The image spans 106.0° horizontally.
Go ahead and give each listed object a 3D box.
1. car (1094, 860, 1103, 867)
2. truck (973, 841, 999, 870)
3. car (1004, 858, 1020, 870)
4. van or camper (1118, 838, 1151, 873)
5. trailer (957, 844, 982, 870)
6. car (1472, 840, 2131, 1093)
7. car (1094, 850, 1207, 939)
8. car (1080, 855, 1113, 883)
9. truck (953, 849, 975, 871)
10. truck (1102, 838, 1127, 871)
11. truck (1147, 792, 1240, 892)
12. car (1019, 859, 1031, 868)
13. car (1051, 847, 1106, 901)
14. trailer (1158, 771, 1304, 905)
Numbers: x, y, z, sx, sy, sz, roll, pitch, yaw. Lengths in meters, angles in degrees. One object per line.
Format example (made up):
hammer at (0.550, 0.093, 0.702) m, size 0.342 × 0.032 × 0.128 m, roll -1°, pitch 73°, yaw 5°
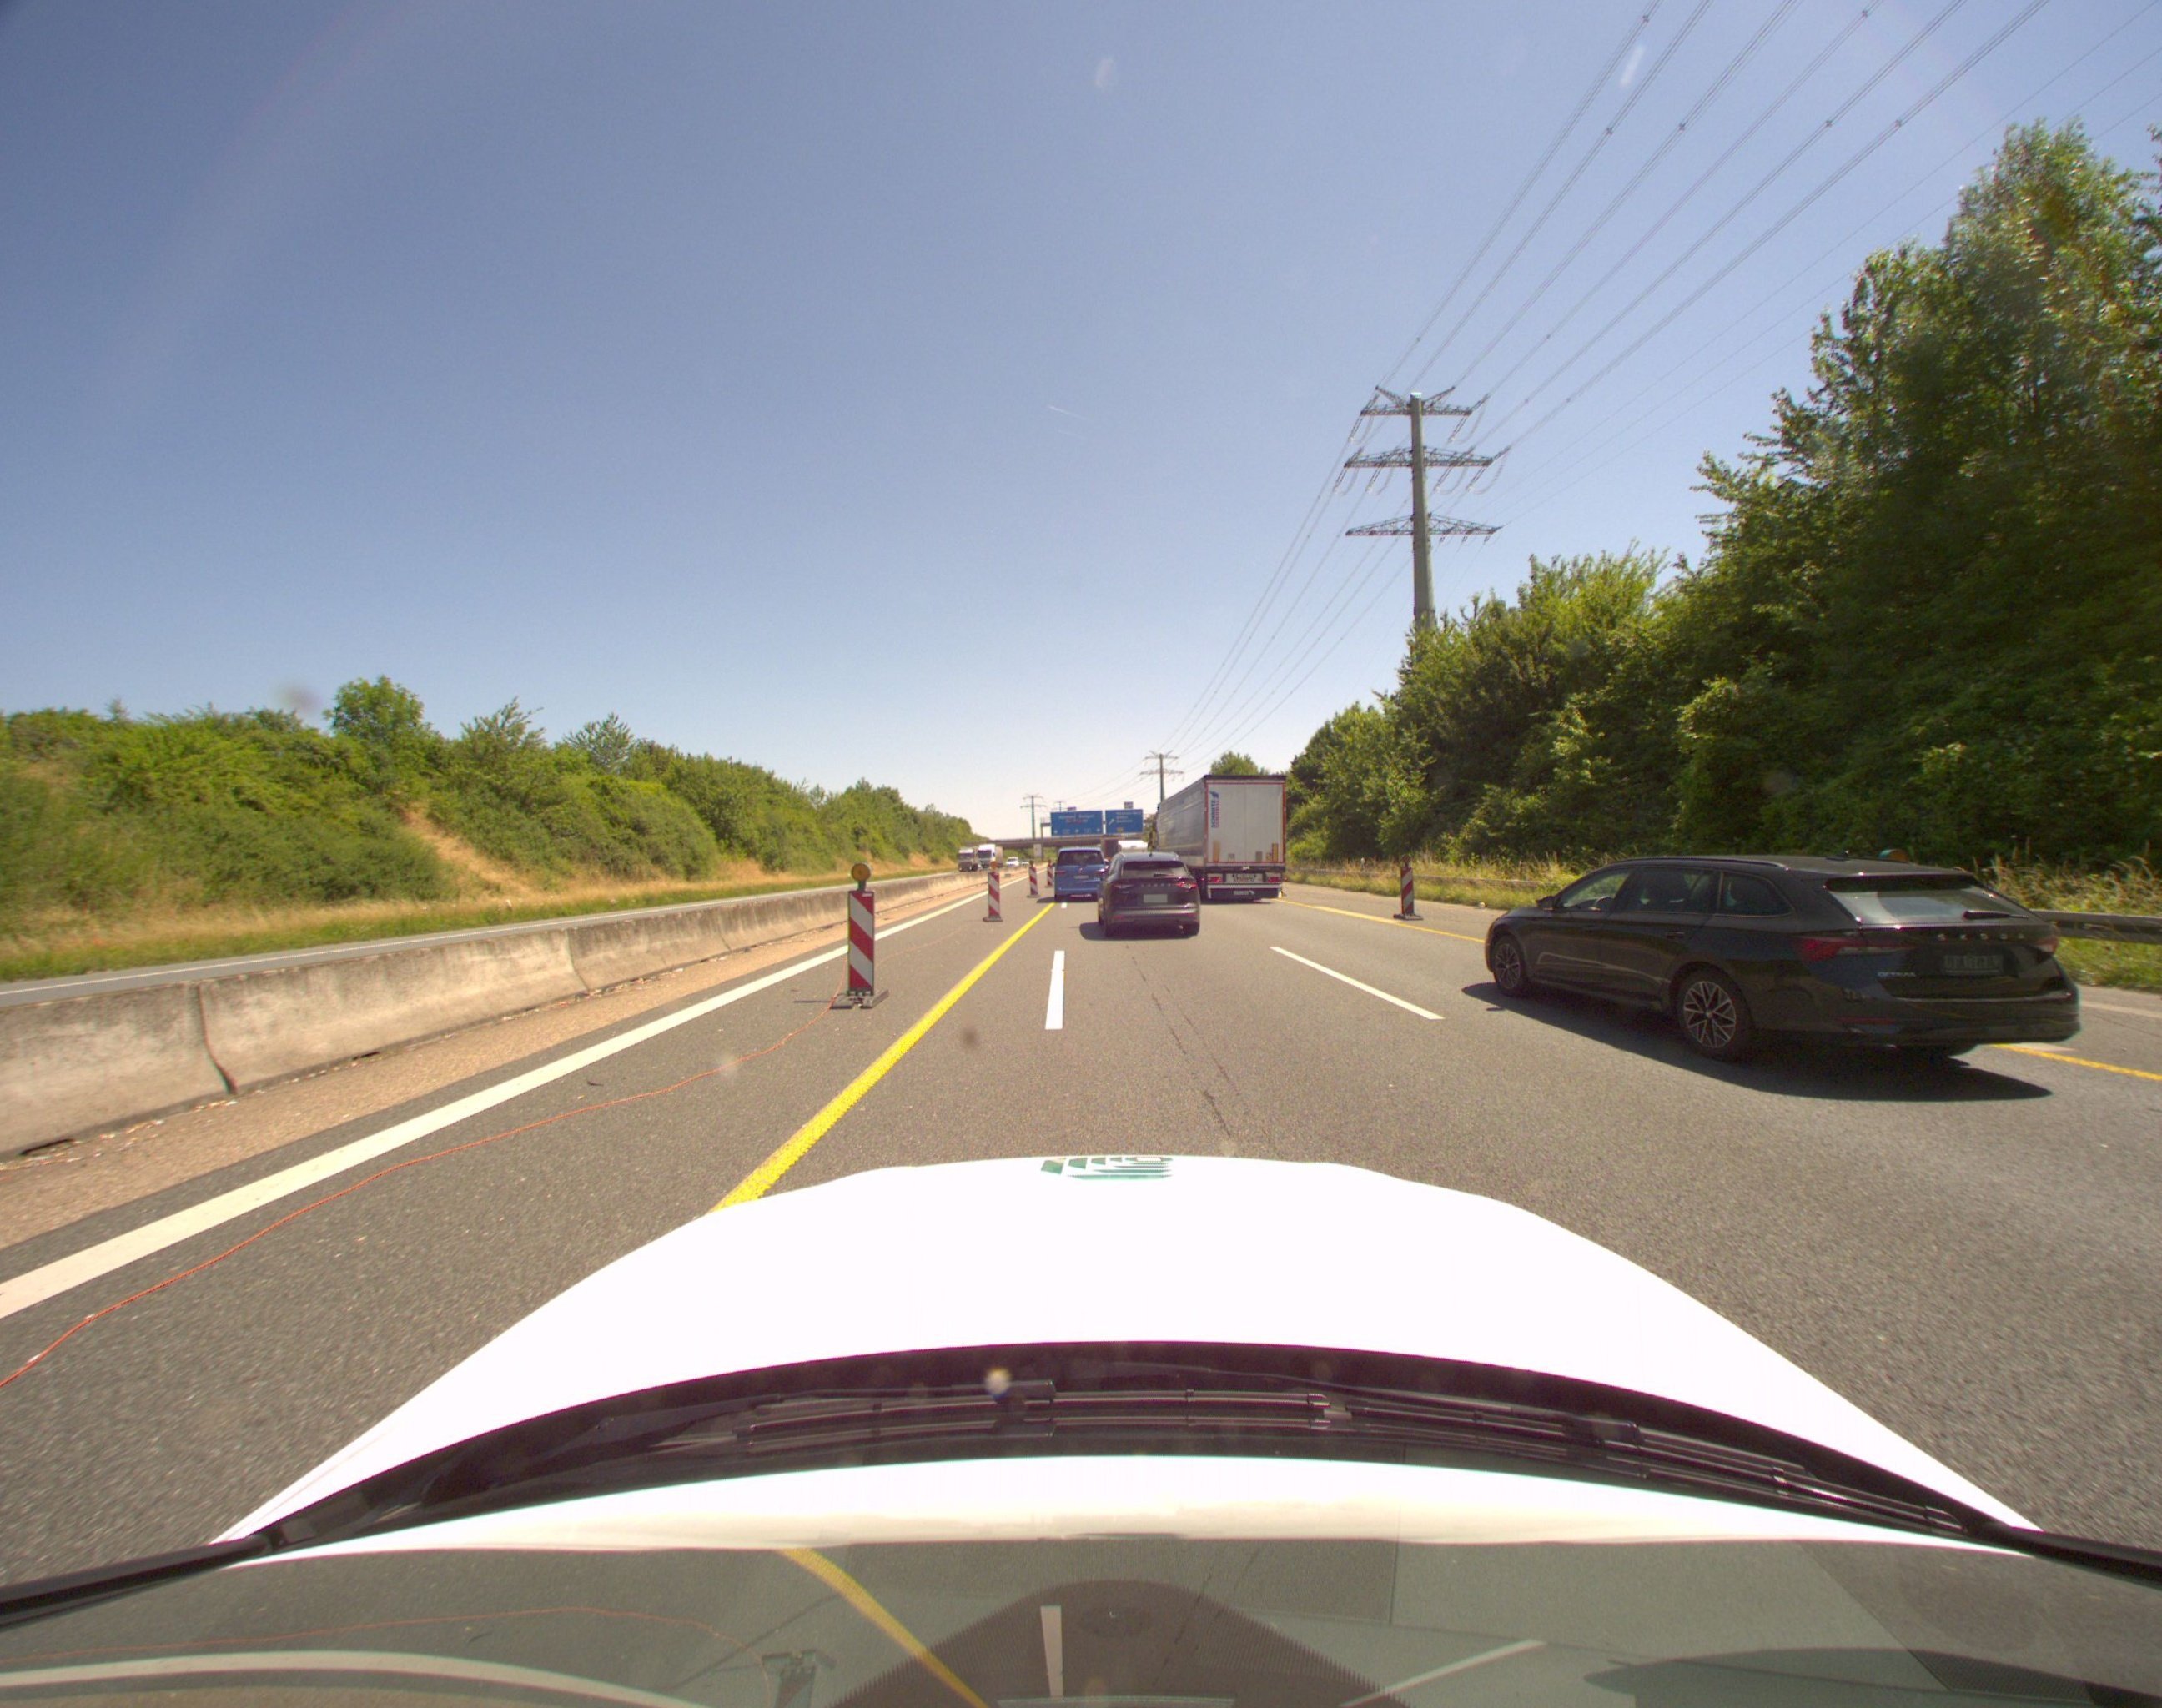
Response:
car at (3.895, 2.188, 185.401) m, size 1.890 × 1.509 × 4.441 m, roll 1°, pitch 1°, yaw -1°
truck at (-14.995, 0.240, 129.283) m, size 3.154 × 4.224 × 7.413 m, roll -2°, pitch 0°, yaw 0°
car at (-10.759, 1.577, 127.706) m, size 1.860 × 1.792 × 5.455 m, roll -2°, pitch 0°, yaw 1°
van or camper at (4.728, 0.111, 73.015) m, size 2.577 × 2.968 × 6.085 m, roll 1°, pitch 0°, yaw 1°
trailer at (-18.690, 0.526, 137.763) m, size 2.472 × 4.180 × 12.081 m, roll -2°, pitch 0°, yaw 0°
car at (5.363, 0.678, 7.080) m, size 1.773 × 1.489 × 4.462 m, roll 0°, pitch 0°, yaw 0°
car at (1.293, 0.721, 16.925) m, size 1.890 × 1.592 × 4.440 m, roll 0°, pitch 0°, yaw -1°
car at (0.895, 0.922, 50.467) m, size 1.890 × 1.509 × 4.441 m, roll 1°, pitch 1°, yaw -1°
truck at (-18.631, 0.950, 129.977) m, size 2.456 × 3.288 × 6.922 m, roll -2°, pitch 0°, yaw 0°
truck at (4.461, 0.095, 109.738) m, size 3.067 × 4.146 × 13.056 m, roll 0°, pitch 0°, yaw 1°
truck at (4.966, -0.502, 37.664) m, size 3.016 × 4.087 × 7.790 m, roll -1°, pitch 0°, yaw -1°
car at (-10.806, 1.825, 156.715) m, size 1.756 × 1.471 × 4.635 m, roll -2°, pitch 0°, yaw 1°
car at (-0.045, 0.701, 29.895) m, size 1.889 × 1.841 × 4.443 m, roll 0°, pitch 0°, yaw 1°
trailer at (5.143, -0.475, 30.698) m, size 3.057 × 4.042 × 11.480 m, roll -1°, pitch 0°, yaw -2°
